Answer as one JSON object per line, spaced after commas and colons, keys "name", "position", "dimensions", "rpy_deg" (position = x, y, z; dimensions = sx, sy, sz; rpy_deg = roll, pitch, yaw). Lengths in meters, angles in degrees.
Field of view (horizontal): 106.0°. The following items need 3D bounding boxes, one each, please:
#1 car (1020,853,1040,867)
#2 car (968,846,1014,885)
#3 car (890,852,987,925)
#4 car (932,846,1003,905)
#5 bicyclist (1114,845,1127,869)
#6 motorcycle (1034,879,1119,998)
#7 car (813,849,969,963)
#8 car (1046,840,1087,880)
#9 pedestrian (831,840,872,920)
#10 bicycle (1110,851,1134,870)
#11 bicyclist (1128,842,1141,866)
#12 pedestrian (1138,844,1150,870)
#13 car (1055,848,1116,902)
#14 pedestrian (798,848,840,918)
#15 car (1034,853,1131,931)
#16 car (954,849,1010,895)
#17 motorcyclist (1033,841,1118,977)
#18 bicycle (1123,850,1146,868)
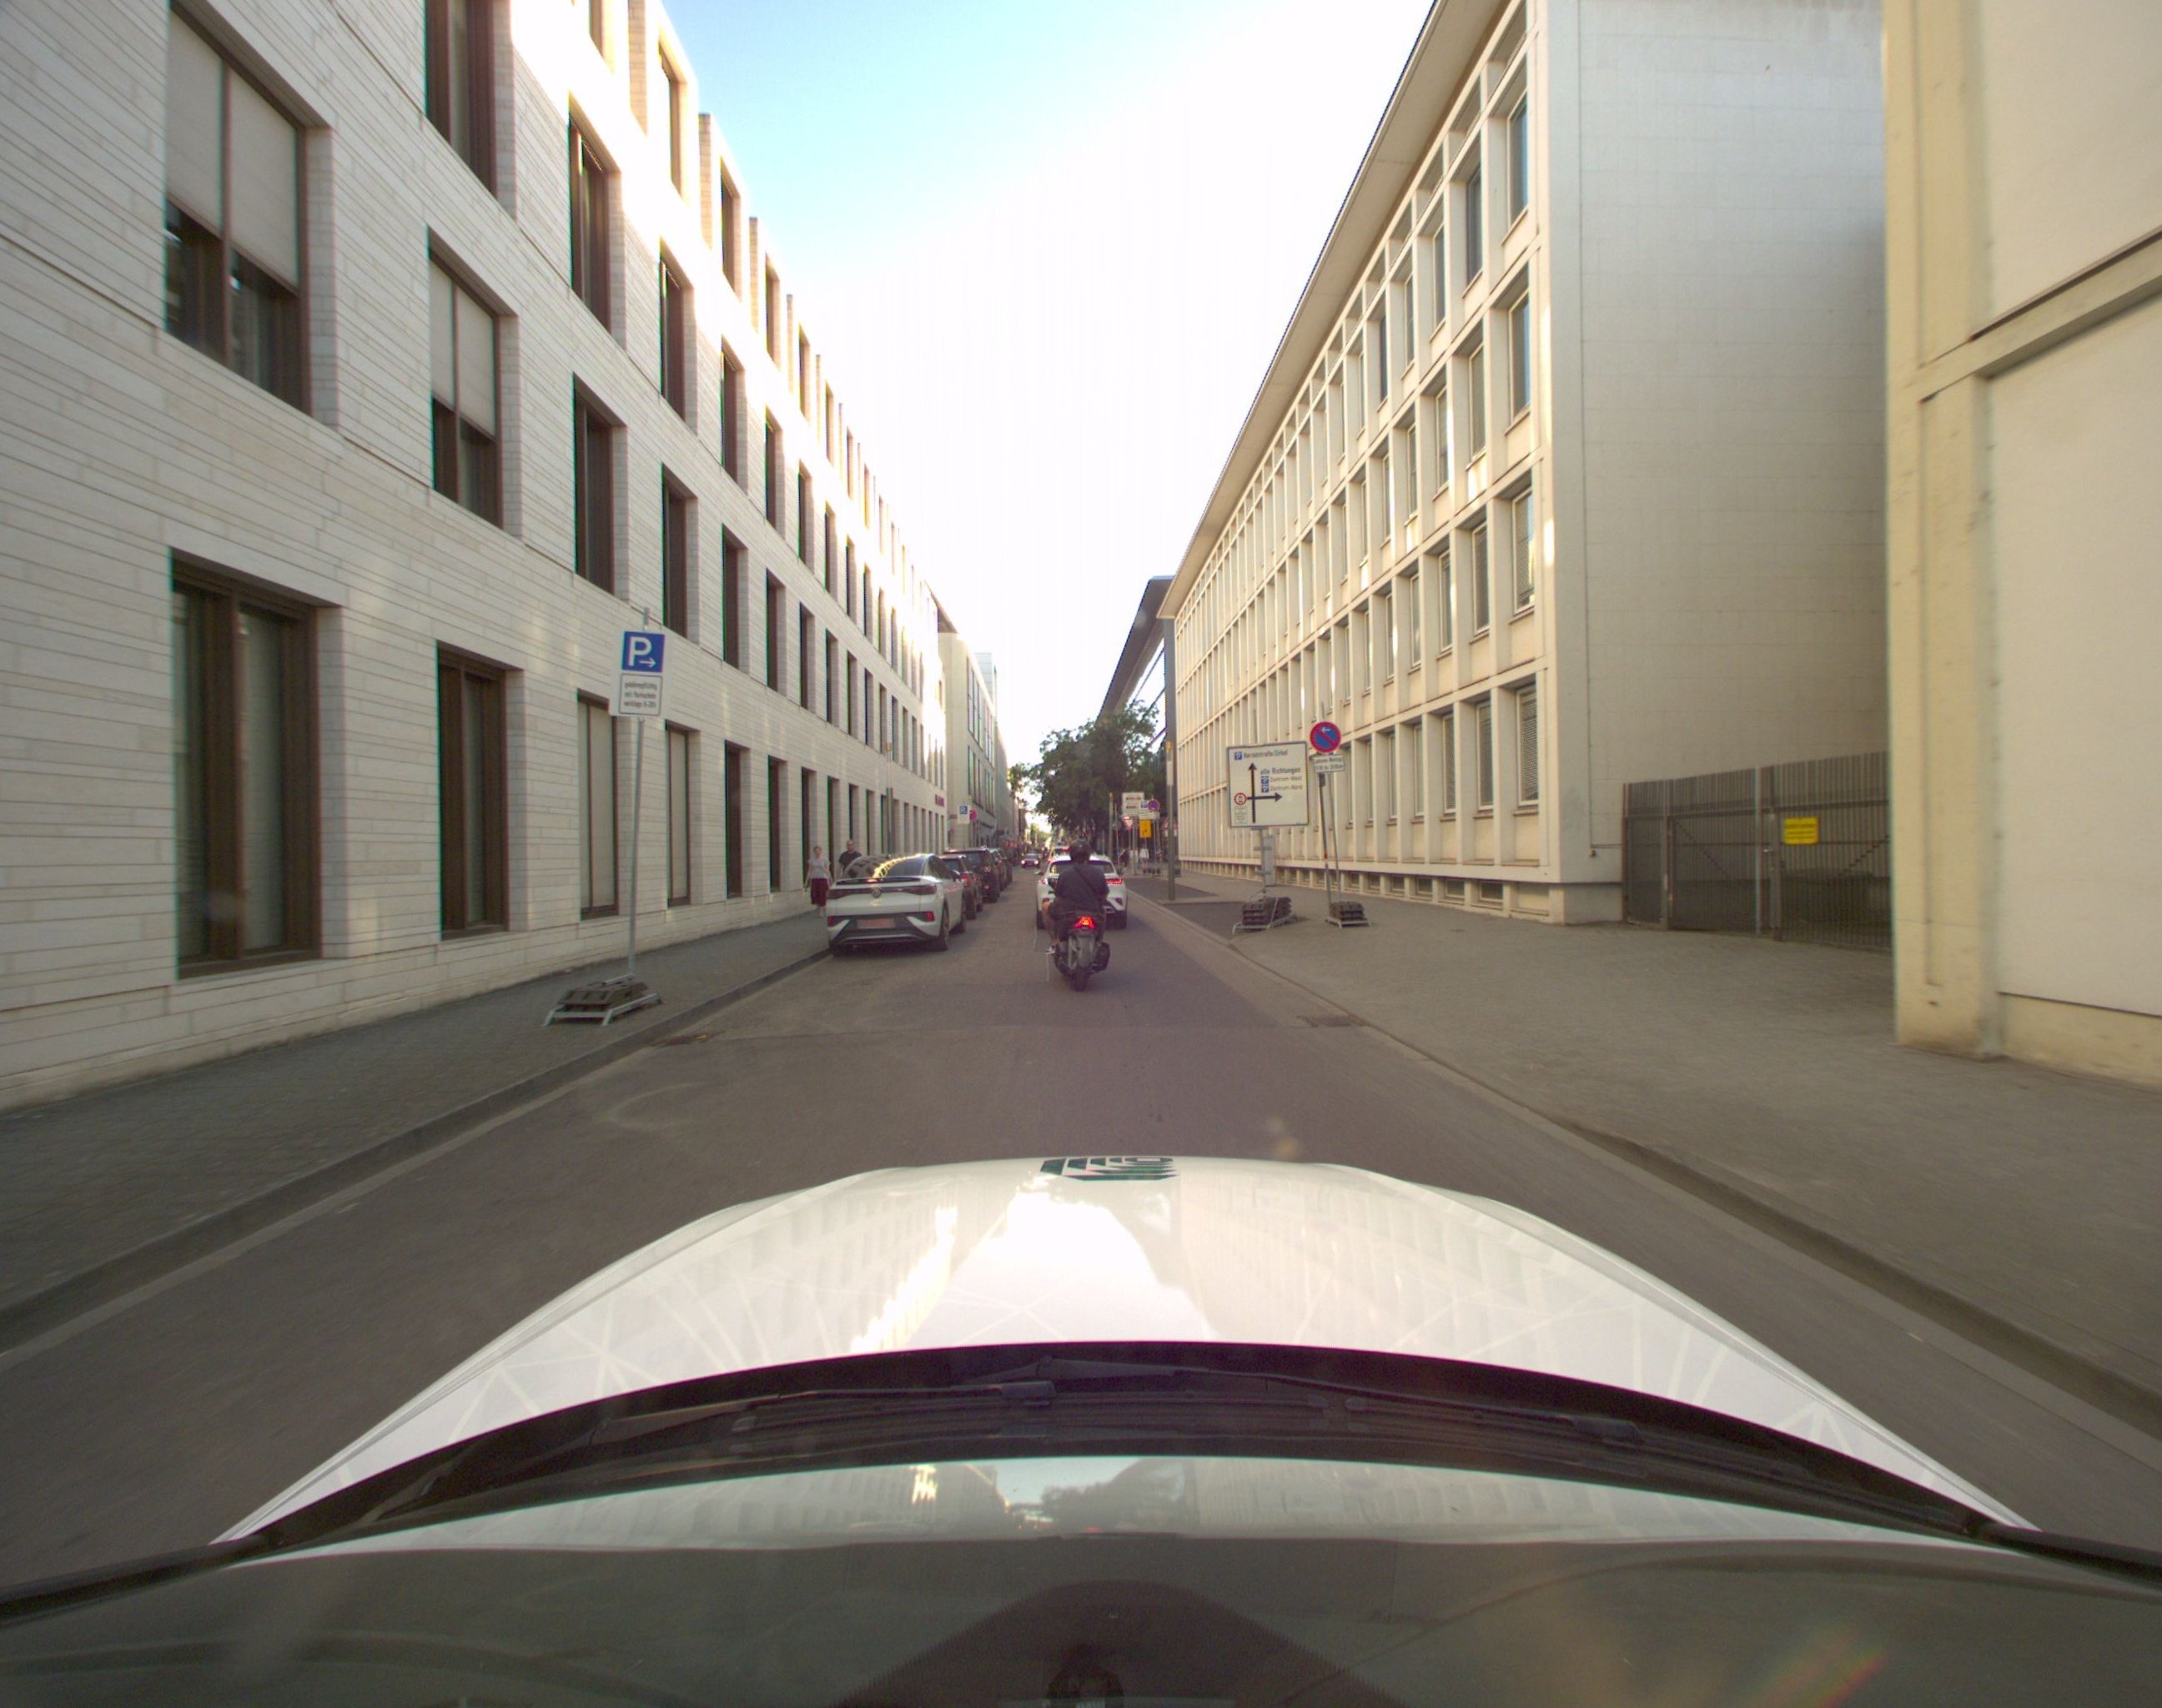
{"name": "car", "position": [-5.420, 0.629, 86.943], "dimensions": [1.943, 1.470, 3.511], "rpy_deg": [-2, 0, -3]}
{"name": "car", "position": [-4.126, 0.495, 37.670], "dimensions": [1.772, 1.606, 3.512], "rpy_deg": [-3, 0, -2]}
{"name": "car", "position": [-3.361, 0.752, 19.821], "dimensions": [1.806, 1.527, 3.512], "rpy_deg": [-3, 0, -2]}
{"name": "car", "position": [-3.481, 0.614, 25.557], "dimensions": [1.806, 1.646, 3.512], "rpy_deg": [-3, 0, -2]}
{"name": "bicyclist", "position": [2.832, 0.228, 58.149], "dimensions": [0.741, 1.706, 0.741], "rpy_deg": [-2, 0, 19]}
{"name": "motorcycle", "position": [-0.030, 0.965, 10.208], "dimensions": [0.902, 1.183, 2.579], "rpy_deg": [-2, 0, 1]}
{"name": "car", "position": [-3.117, 0.760, 14.273], "dimensions": [1.806, 1.606, 4.264], "rpy_deg": [-3, 0, -2]}
{"name": "car", "position": [-0.776, 0.282, 41.753], "dimensions": [1.920, 1.856, 3.997], "rpy_deg": [-2, 0, -2]}
{"name": "pedestrian", "position": [-5.264, 0.576, 18.736], "dimensions": [0.702, 1.786, 0.726], "rpy_deg": [-2, 0, -2]}
{"name": "bicycle", "position": [2.929, 0.463, 58.114], "dimensions": [1.551, 1.249, 0.555], "rpy_deg": [-2, 0, 18]}
{"name": "bicyclist", "position": [3.884, 0.009, 59.444], "dimensions": [0.741, 1.706, 0.741], "rpy_deg": [-2, 0, 19]}
{"name": "pedestrian", "position": [3.997, 0.205, 51.485], "dimensions": [0.641, 1.601, 0.620], "rpy_deg": [-2, 0, 0]}
{"name": "car", "position": [0.090, 0.624, 26.415], "dimensions": [1.769, 1.550, 4.104], "rpy_deg": [-2, 0, -2]}
{"name": "pedestrian", "position": [-6.264, 0.682, 19.484], "dimensions": [0.702, 1.613, 0.860], "rpy_deg": [-2, 0, -2]}
{"name": "car", "position": [0.061, 0.729, 17.570], "dimensions": [1.853, 1.472, 4.000], "rpy_deg": [0, 0, 1]}
{"name": "car", "position": [-3.788, 0.653, 31.667], "dimensions": [1.772, 1.606, 3.512], "rpy_deg": [-3, 0, -2]}
{"name": "motorcyclist", "position": [-0.054, 0.636, 10.126], "dimensions": [0.951, 1.559, 1.239], "rpy_deg": [-2, 0, 0]}
{"name": "bicycle", "position": [3.878, 0.393, 59.441], "dimensions": [1.551, 1.249, 0.555], "rpy_deg": [-2, 0, 18]}
